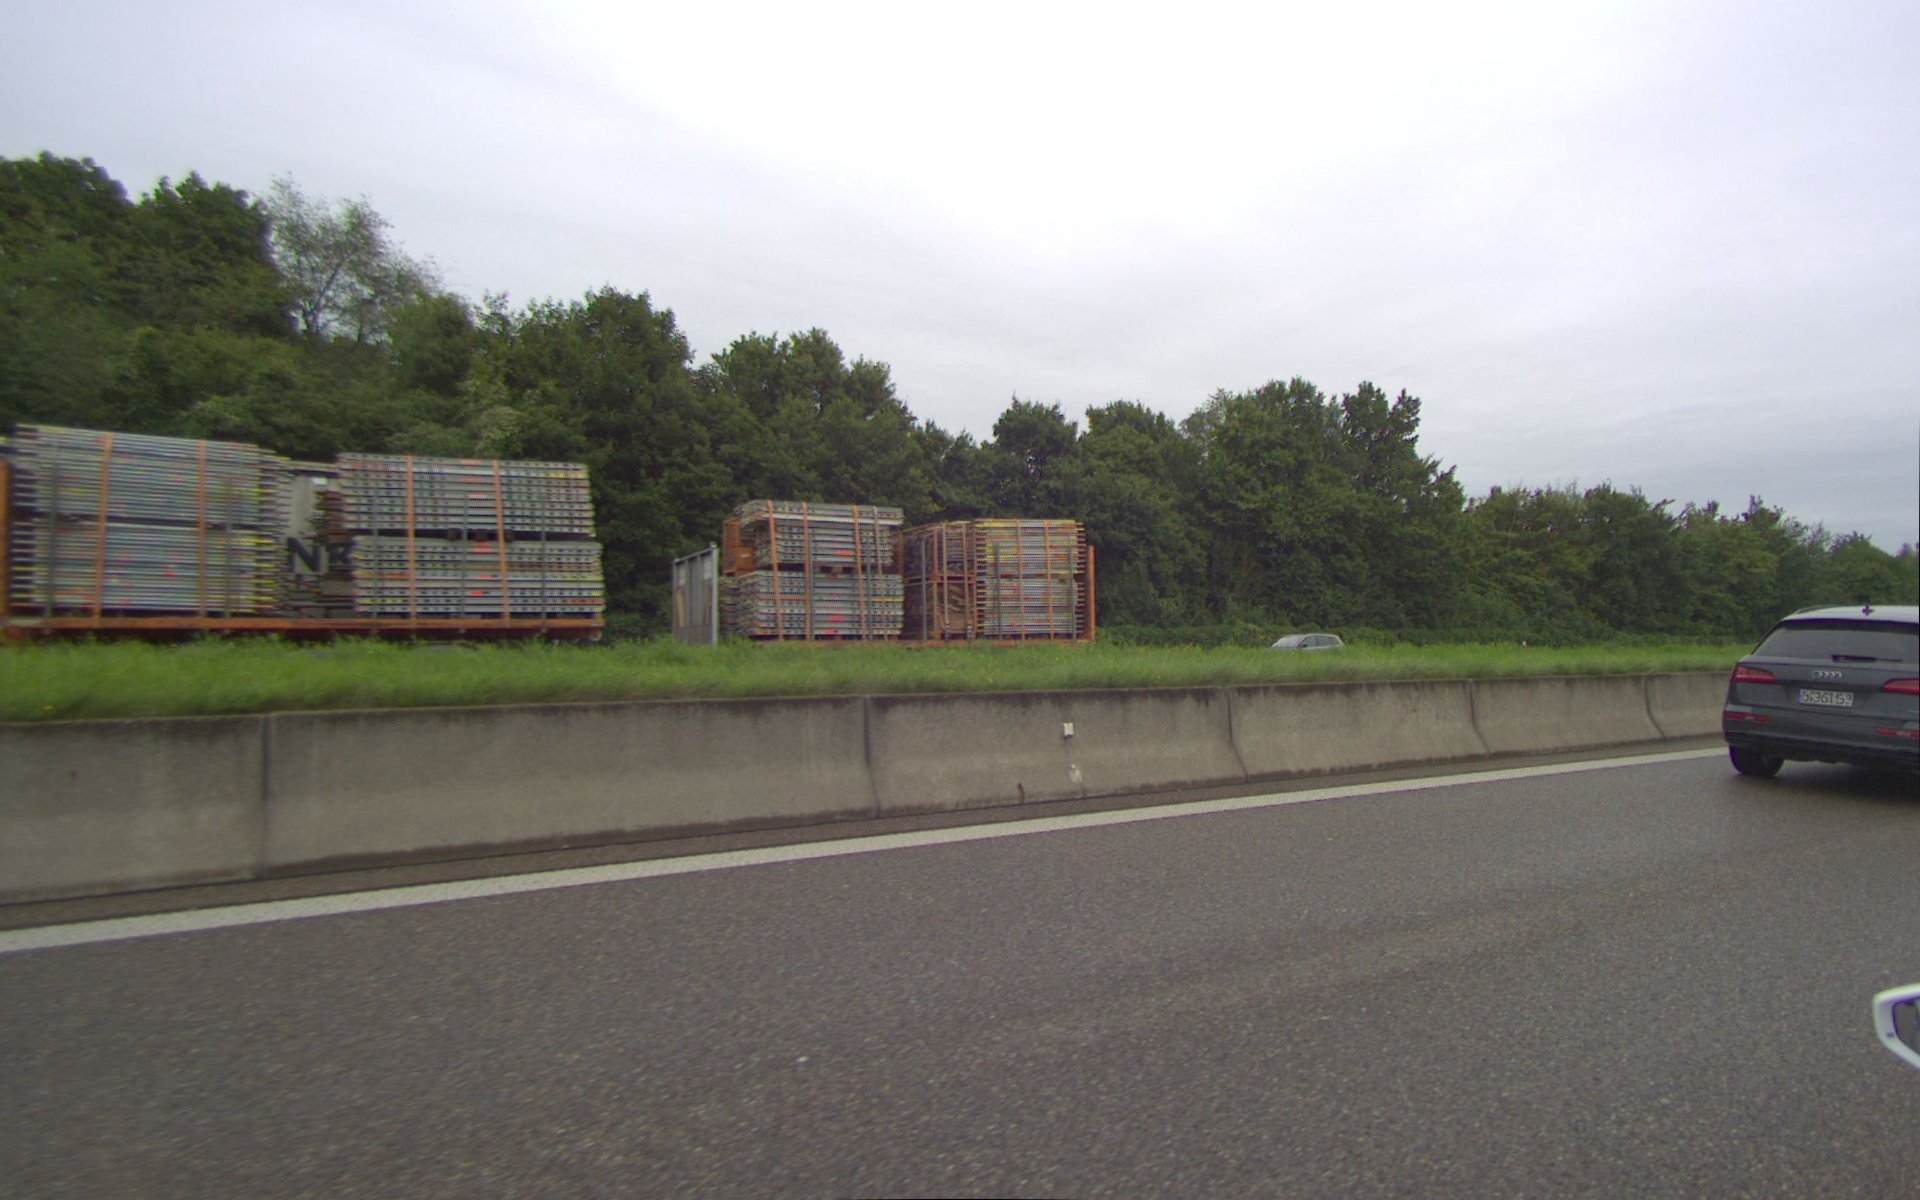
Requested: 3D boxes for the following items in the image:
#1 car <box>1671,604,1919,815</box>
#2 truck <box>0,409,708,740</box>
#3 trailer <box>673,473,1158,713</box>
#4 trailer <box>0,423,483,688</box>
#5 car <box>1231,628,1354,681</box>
[{"bbox_3d":[9.326,0.928,9.806,5.064,1.621,1.984,2,0,-31],"label":"car"},{"bbox_3d":[-9.165,-0.229,12.982,11.056,3.512,2.936,2,0,-31],"label":"truck"},{"bbox_3d":[-0.611,-0.007,17.981,8.221,3.505,2.918,2,0,-30],"label":"trailer"},{"bbox_3d":[-13.620,-0.614,14.766,11.730,3.587,2.673,2,0,-30],"label":"trailer"},{"bbox_3d":[12.459,2.029,37.610,4.251,1.812,1.985,2,0,-29],"label":"car"}]
